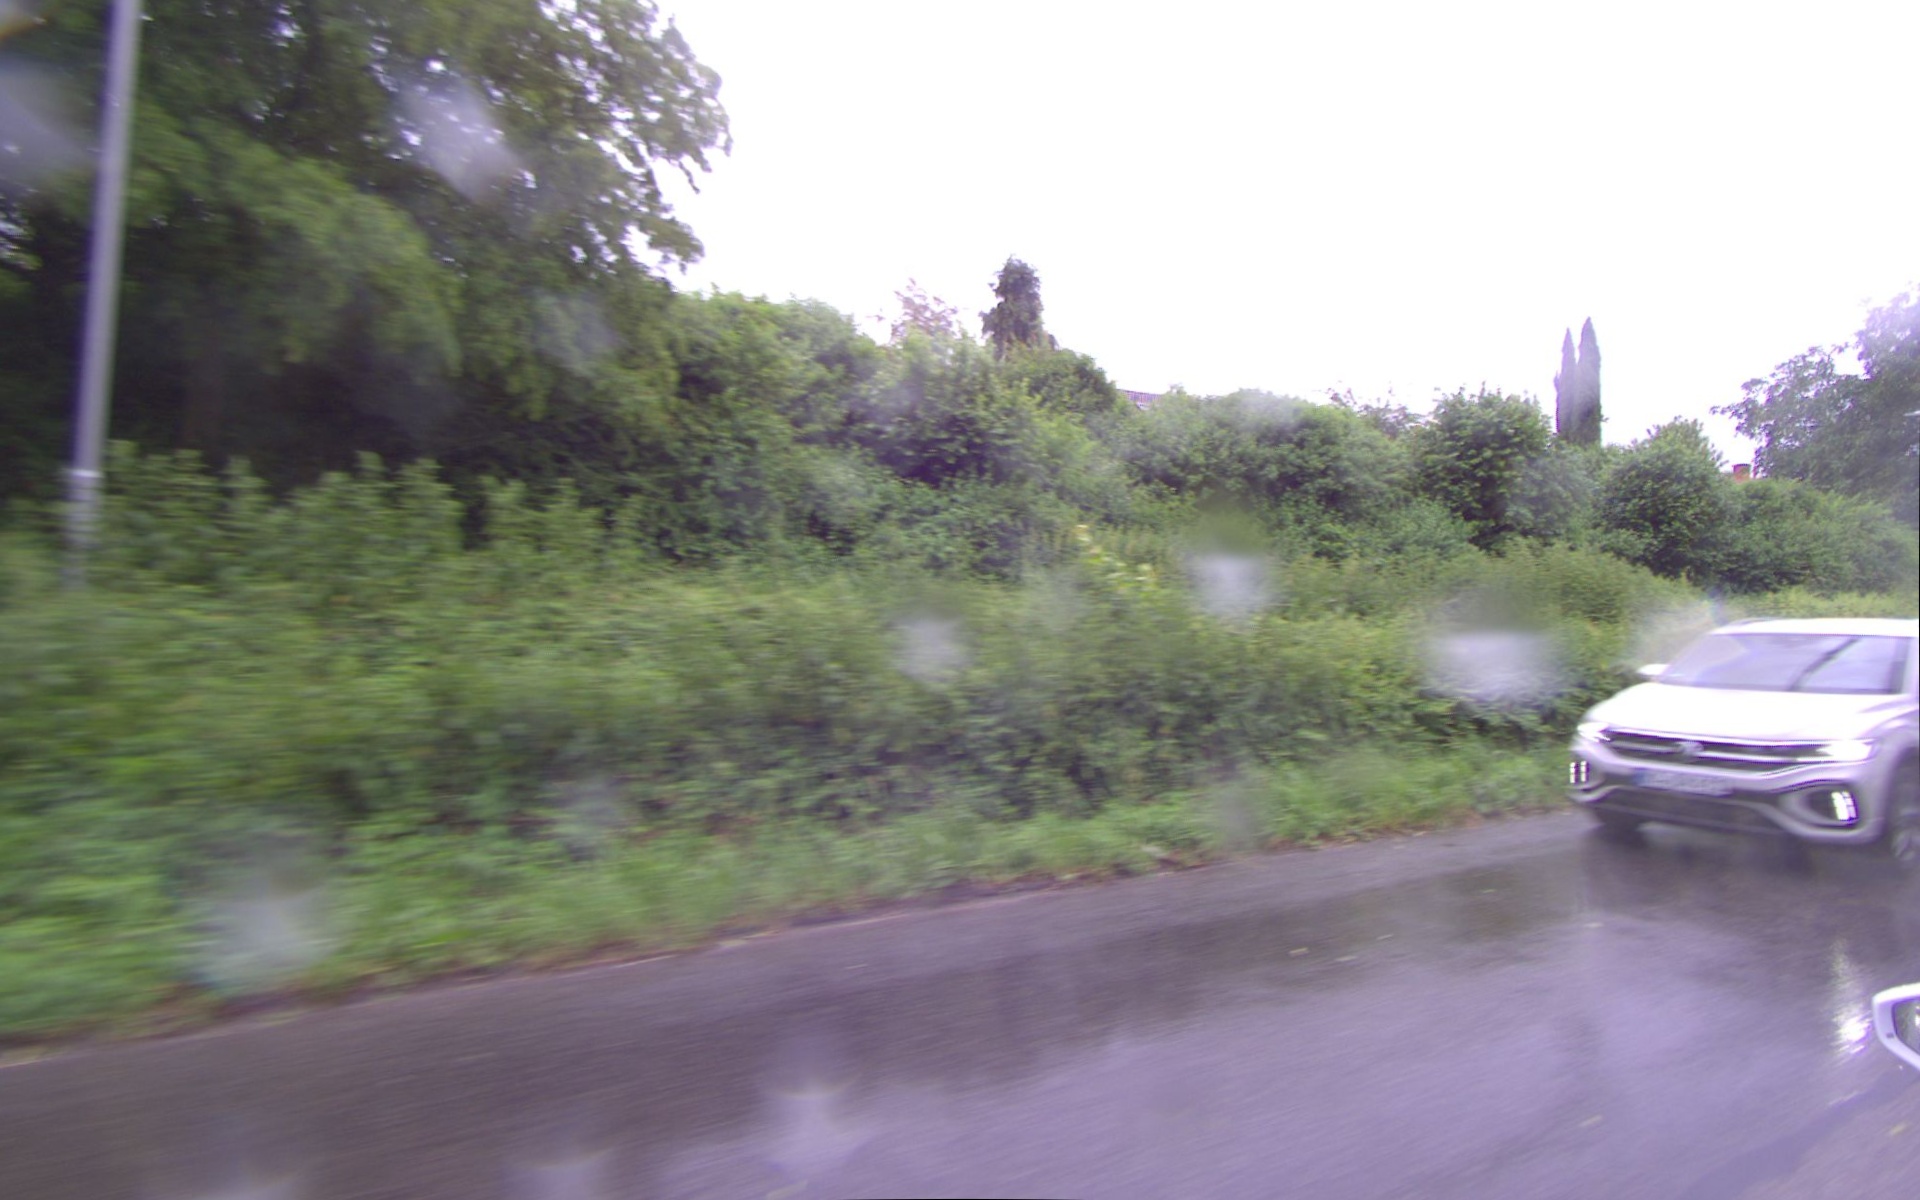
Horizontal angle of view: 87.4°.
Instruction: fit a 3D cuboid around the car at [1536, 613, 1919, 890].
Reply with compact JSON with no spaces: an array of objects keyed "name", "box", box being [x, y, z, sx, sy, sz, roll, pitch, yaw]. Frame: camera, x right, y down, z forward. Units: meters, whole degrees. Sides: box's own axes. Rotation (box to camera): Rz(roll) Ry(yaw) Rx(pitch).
[{"name":"car","box":[6.227,0.863,7.323,3.952,1.524,1.773,0,-1,-30]}]
